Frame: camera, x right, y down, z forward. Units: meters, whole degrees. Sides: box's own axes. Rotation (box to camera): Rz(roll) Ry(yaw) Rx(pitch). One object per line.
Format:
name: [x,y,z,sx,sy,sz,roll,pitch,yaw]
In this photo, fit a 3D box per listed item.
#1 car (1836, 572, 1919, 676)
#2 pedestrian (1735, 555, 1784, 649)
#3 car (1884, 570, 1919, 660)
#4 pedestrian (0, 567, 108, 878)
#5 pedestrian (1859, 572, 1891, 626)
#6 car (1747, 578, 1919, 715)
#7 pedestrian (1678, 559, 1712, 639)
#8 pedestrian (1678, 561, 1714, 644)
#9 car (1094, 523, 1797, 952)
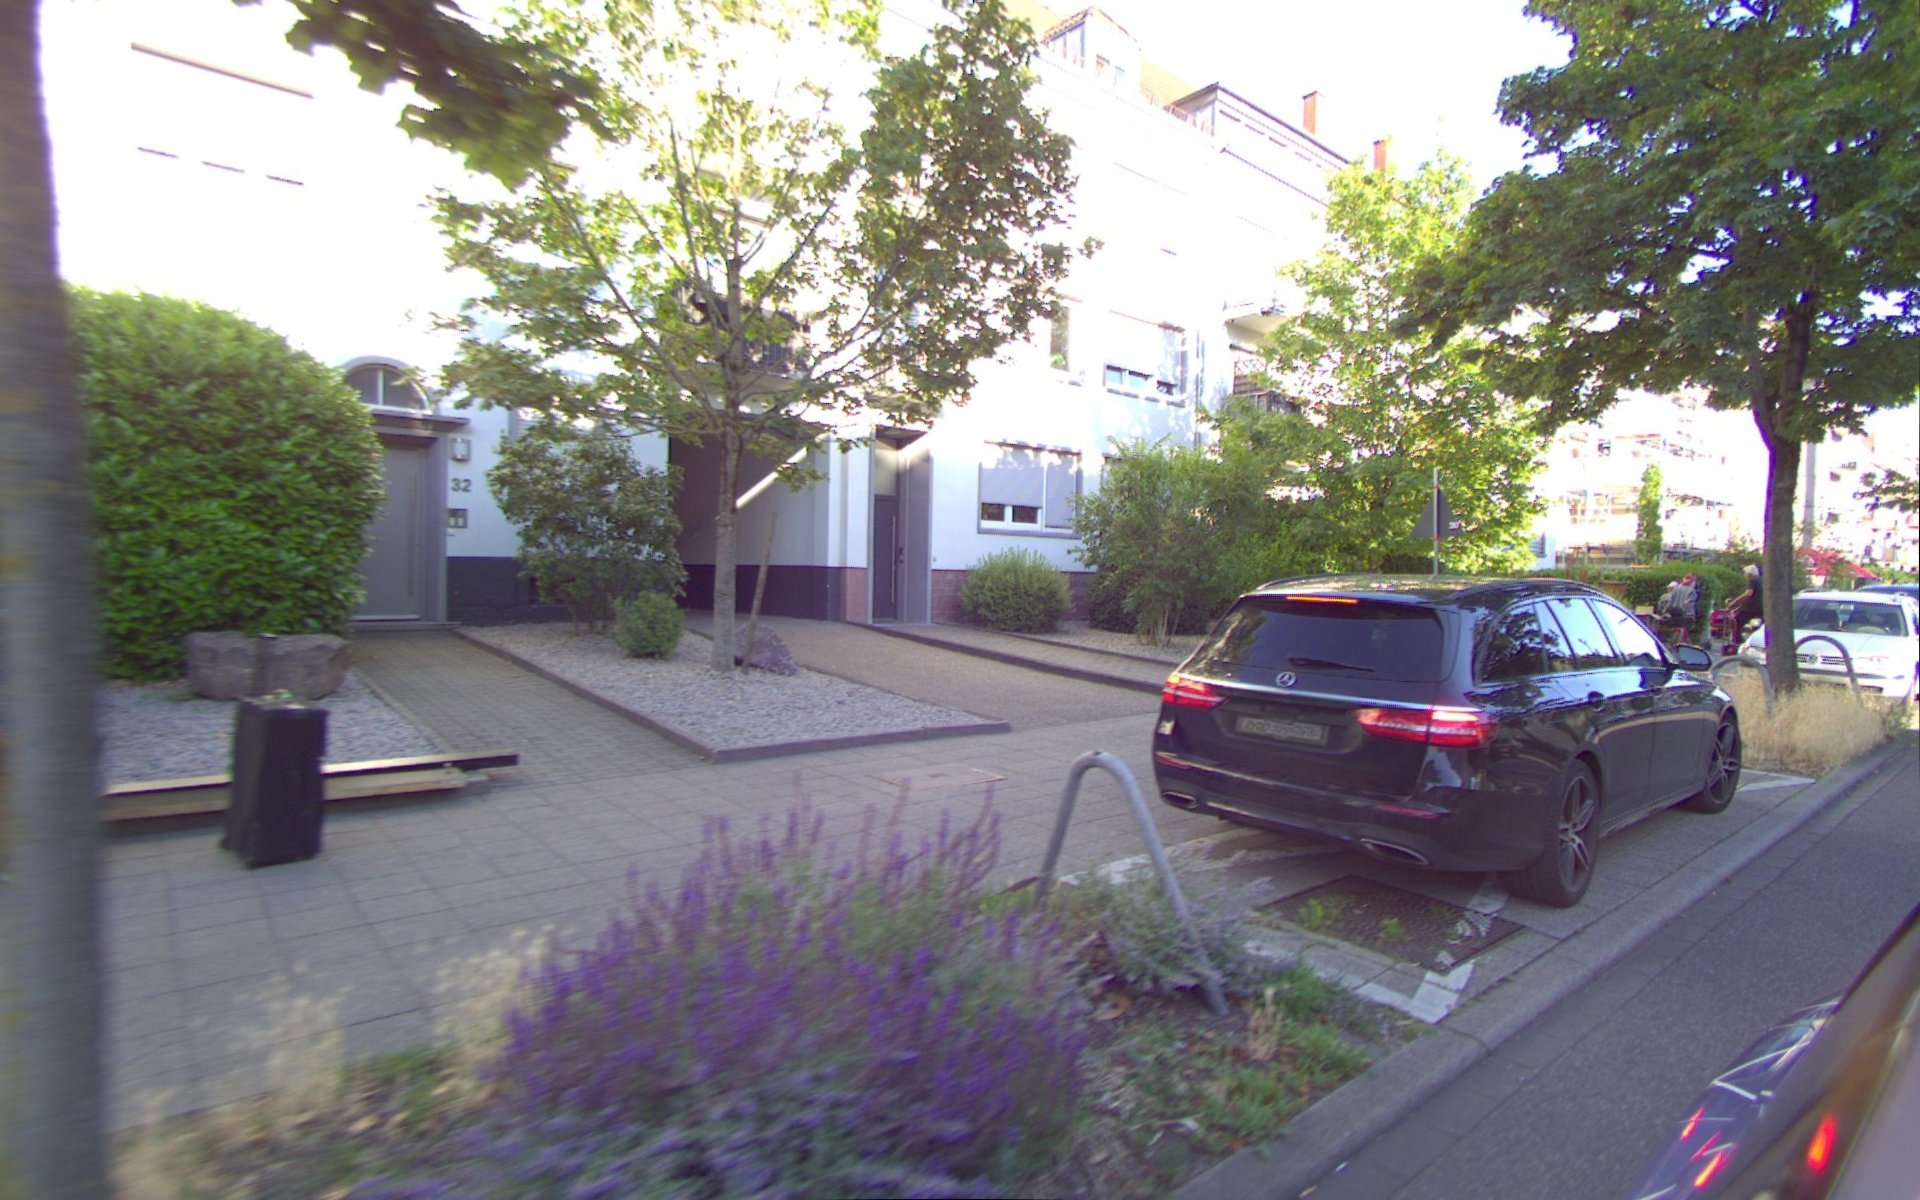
car: [16.346,0.364,17.157,3.930,1.587,1.640,-1,3,-41]
pedestrian: [16.277,0.036,20.594,0.749,1.872,0.550,0,1,-34]
car: [19.898,0.264,20.277,4.521,1.676,1.723,-1,2,-44]
pedestrian: [-4.122,0.487,4.276,0.776,1.250,0.674,-1,1,-40]
pedestrian: [27.131,-0.043,30.015,0.553,1.587,0.740,1,1,31]
car: [12.093,0.489,13.524,4.338,1.508,1.640,-1,3,-41]
pedestrian: [16.053,-0.028,22.101,0.519,1.718,0.510,0,1,-45]
pedestrian: [15.407,0.041,21.192,0.519,1.718,0.510,0,1,-45]
car: [3.129,0.443,5.991,4.734,1.600,1.879,-1,3,-39]
